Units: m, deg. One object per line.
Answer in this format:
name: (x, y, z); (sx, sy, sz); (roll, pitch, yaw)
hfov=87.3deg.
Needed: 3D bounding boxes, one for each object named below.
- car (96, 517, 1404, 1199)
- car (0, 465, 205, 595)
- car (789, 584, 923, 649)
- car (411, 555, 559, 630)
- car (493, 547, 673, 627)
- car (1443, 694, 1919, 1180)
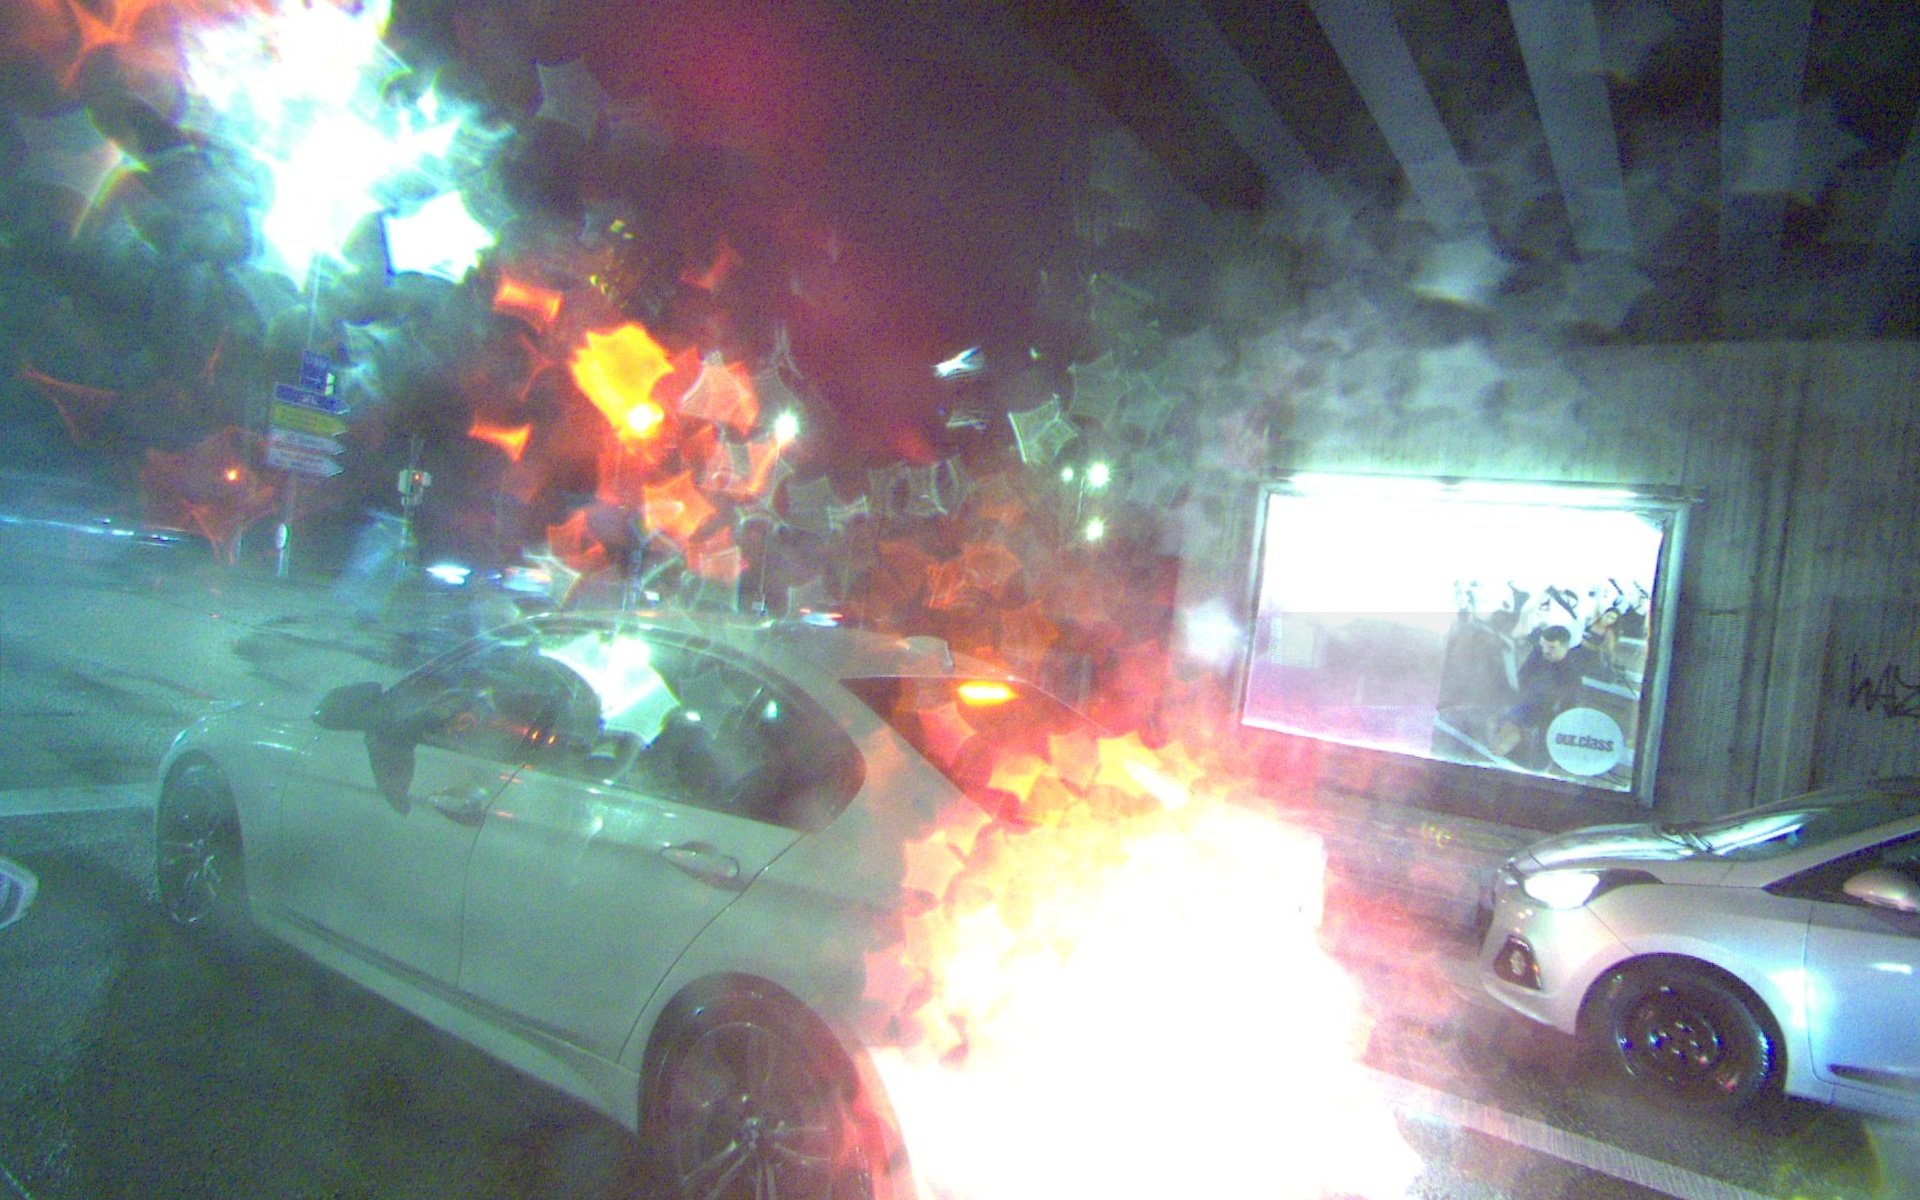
car: (-0.967, 0.666, 3.489); (4.309, 1.465, 1.722); (6, 0, 31)
car: (-15.142, -1.212, 16.828); (3.742, 1.754, 1.702); (9, -2, -43)
car: (-3.419, 0.594, 33.821); (1.809, 1.668, 4.415); (6, -2, 37)
car: (-16.172, -0.219, 34.449); (1.968, 2.037, 3.992); (6, -2, 34)
car: (-10.639, -0.318, 28.720); (1.811, 1.690, 4.453); (6, -2, 34)
car: (4.316, 1.407, 3.992); (4.092, 1.465, 1.722); (6, 0, 31)
